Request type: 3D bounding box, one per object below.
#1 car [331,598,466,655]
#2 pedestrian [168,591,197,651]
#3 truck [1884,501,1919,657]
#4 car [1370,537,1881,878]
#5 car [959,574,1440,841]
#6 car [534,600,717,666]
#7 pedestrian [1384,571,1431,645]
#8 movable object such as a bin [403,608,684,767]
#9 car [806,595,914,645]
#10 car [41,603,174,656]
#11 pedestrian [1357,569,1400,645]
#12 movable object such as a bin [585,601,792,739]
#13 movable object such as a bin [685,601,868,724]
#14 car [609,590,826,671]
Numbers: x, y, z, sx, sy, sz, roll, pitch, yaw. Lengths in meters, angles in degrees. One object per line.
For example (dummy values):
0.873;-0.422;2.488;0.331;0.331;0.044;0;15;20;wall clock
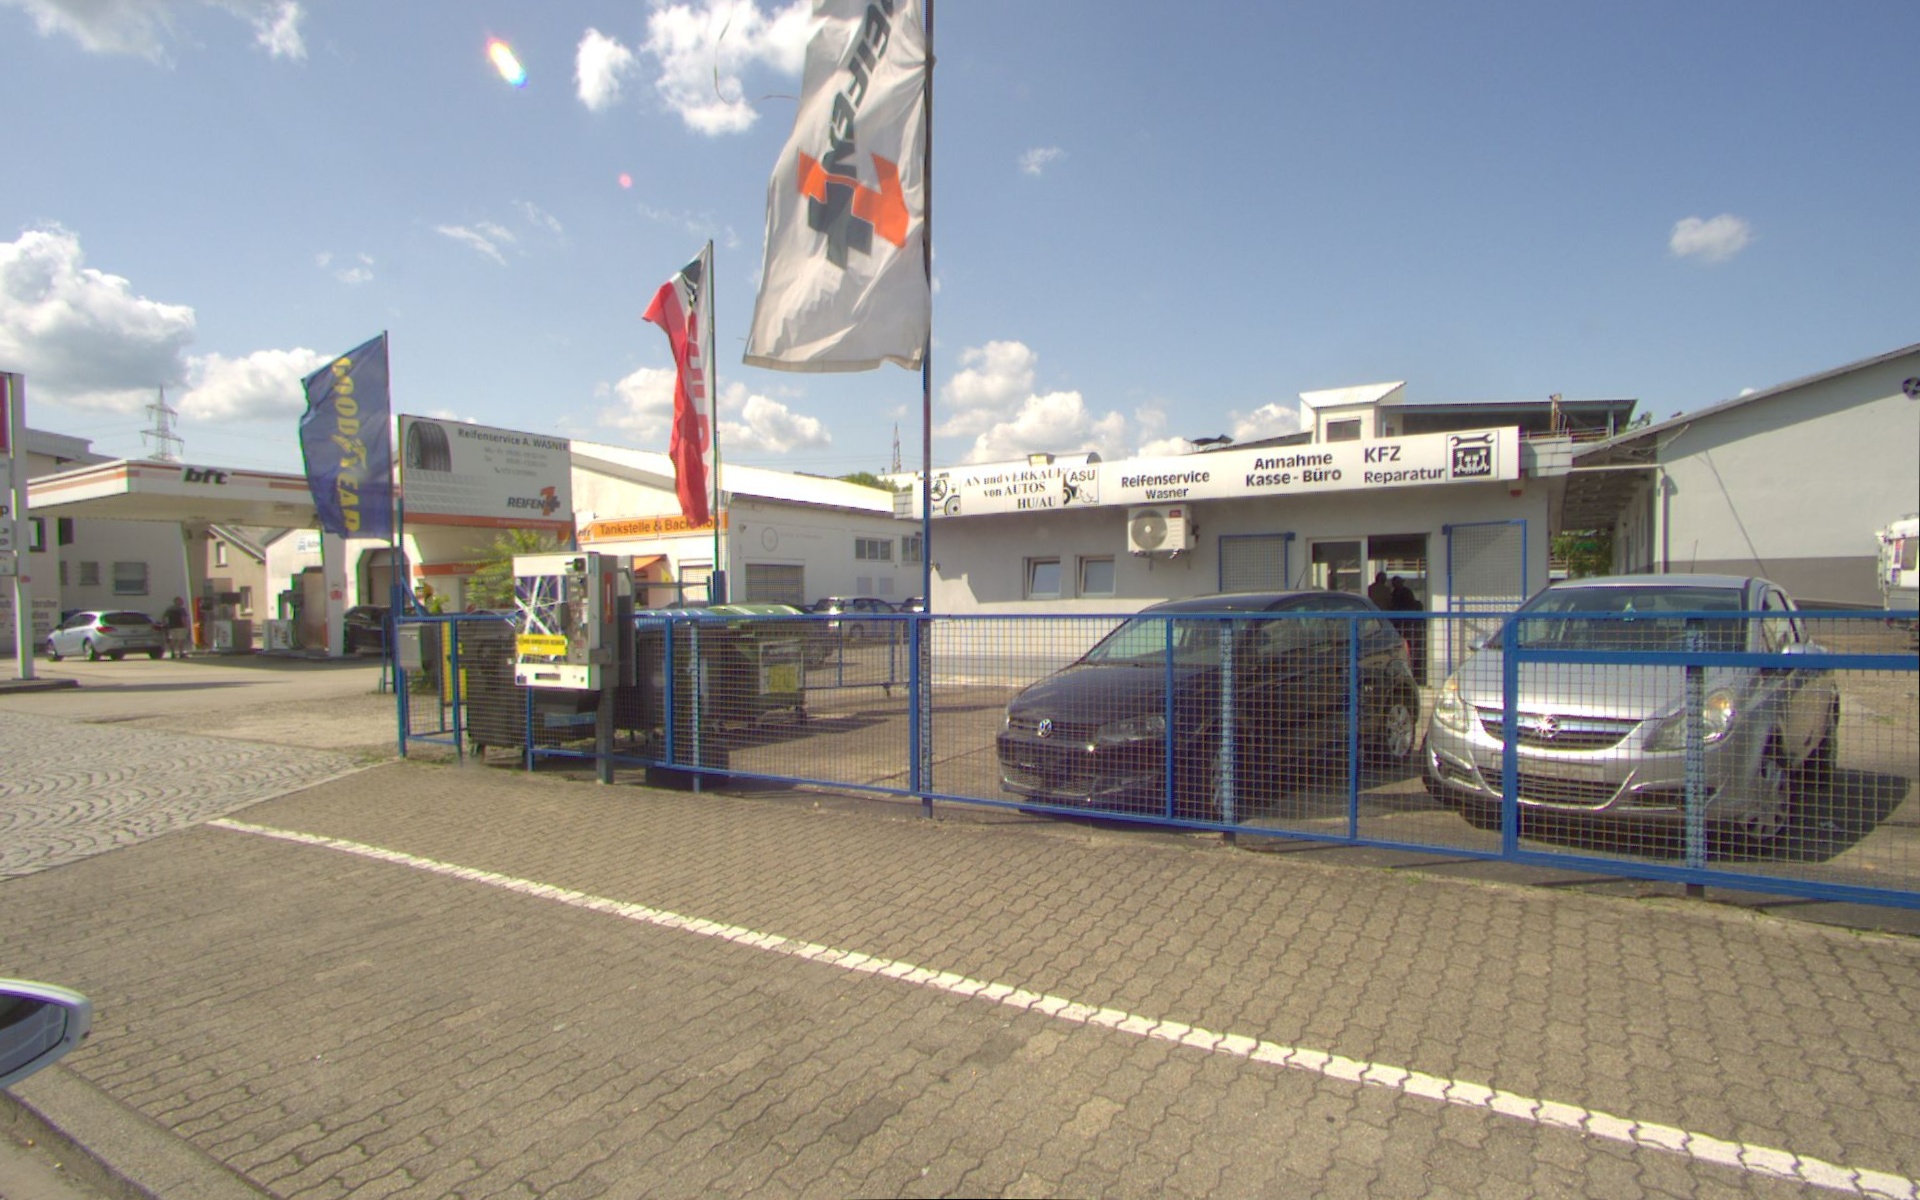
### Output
-17.053;0.760;30.353;4.427;1.540;1.679;1;2;32;car
-23.744;0.650;30.584;0.569;1.799;0.496;-1;-1;30;pedestrian
21.395;-0.482;19.215;5.014;3.050;2.149;-1;1;31;truck
4.564;0.553;6.587;4.219;1.524;1.811;2;-2;-42;car
1.978;0.599;7.578;3.868;1.482;1.611;-2;0;-42;car
-8.227;0.775;24.969;1.747;1.443;4.124;-1;0;33;car
8.195;0.157;18.338;0.690;1.318;0.632;-1;-1;33;pedestrian
-4.044;0.794;9.863;1.684;1.364;1.960;-1;-2;31;movable object such as a bin
-3.108;0.608;31.804;1.507;1.443;3.574;-1;0;33;car
-26.034;0.905;30.553;4.357;1.490;1.689;-1;1;30;car
7.385;0.135;17.674;0.626;1.318;0.697;-1;-1;29;pedestrian
-3.087;0.767;11.462;1.740;1.428;1.530;-1;-2;31;movable object such as a bin
-2.325;0.770;12.807;1.740;1.428;1.530;-1;-2;31;movable object such as a bin
-4.665;0.589;19.740;1.627;1.426;4.037;0;-1;39;car
